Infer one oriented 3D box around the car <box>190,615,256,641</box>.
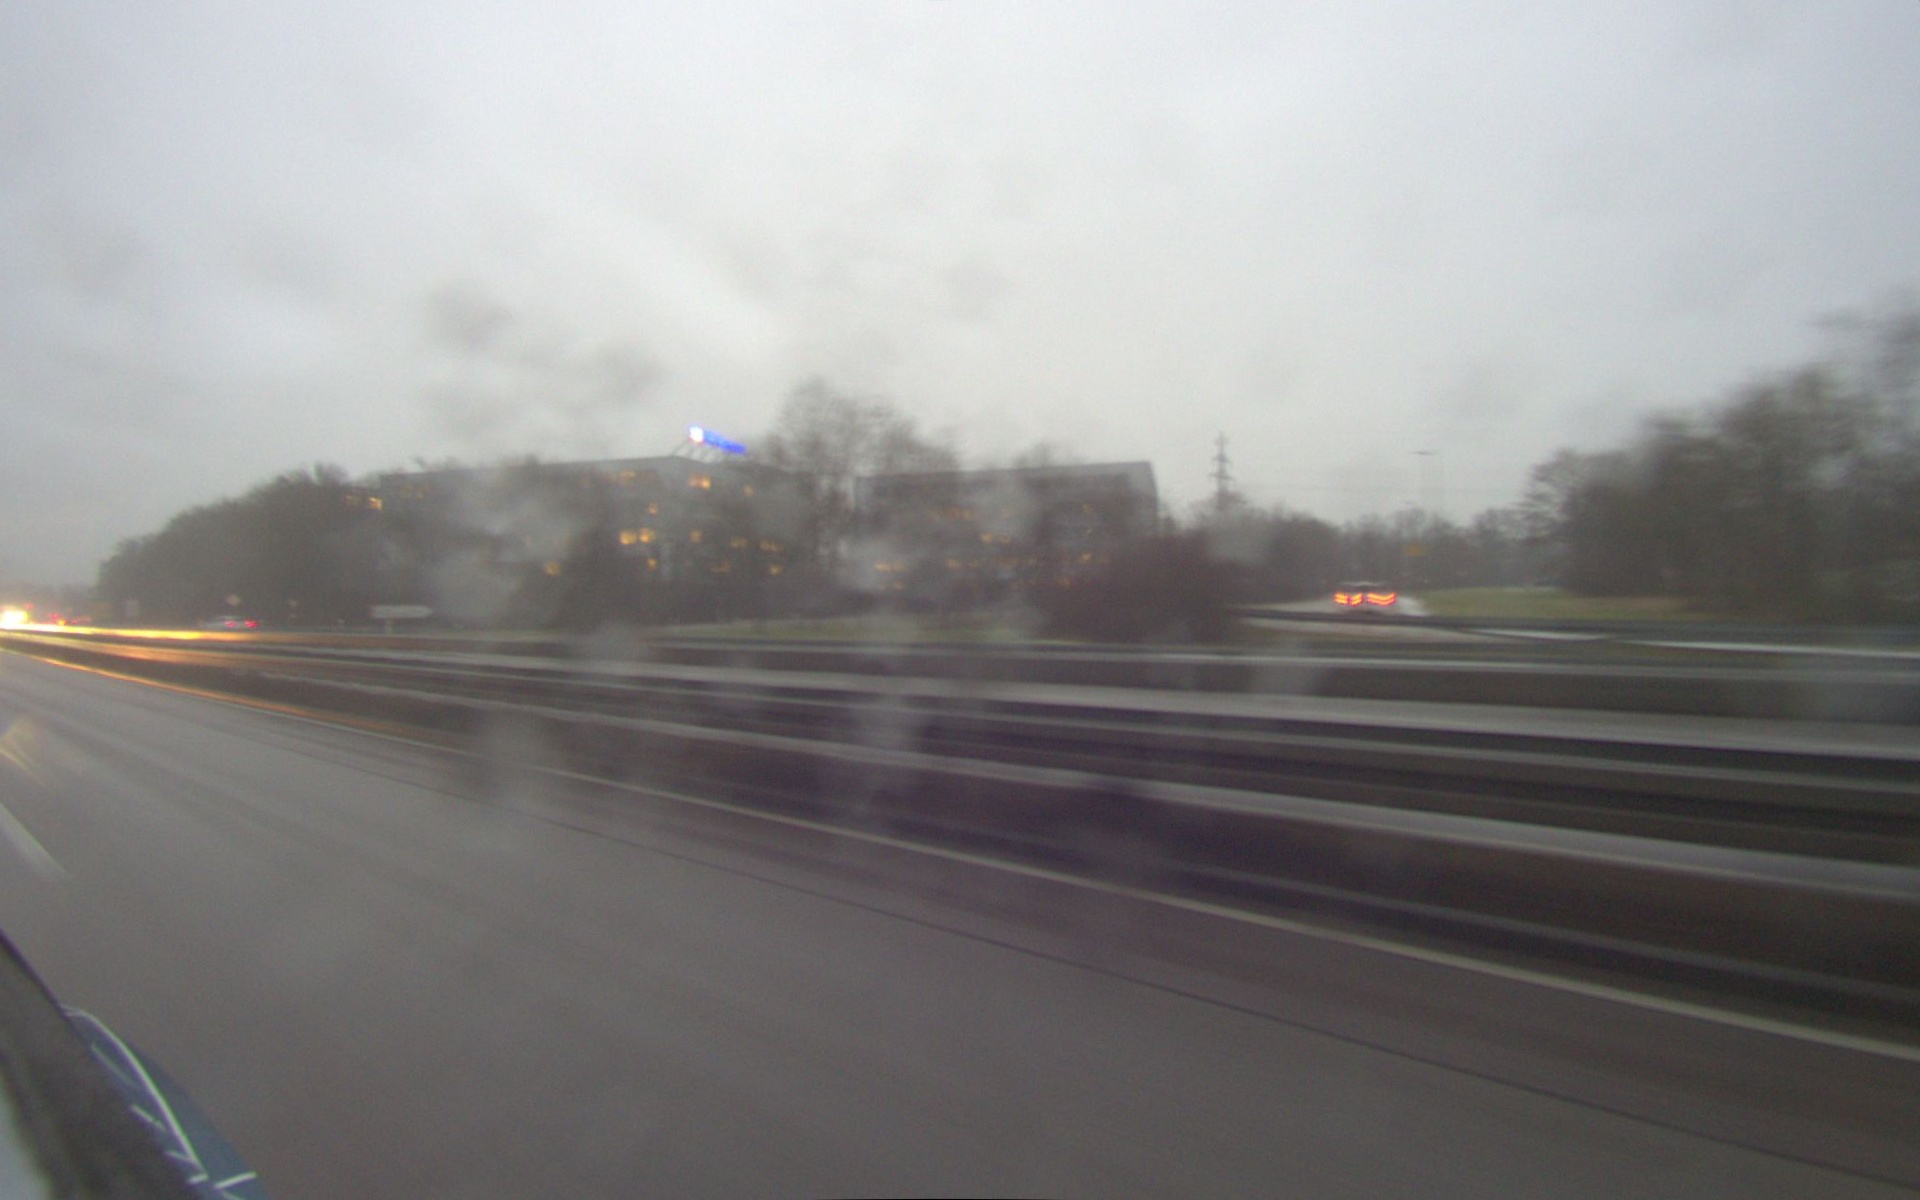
[{"bbox_3d":[-55.350,2.070,76.043,3.961,1.697,1.845,-3,1,14],"label":"car"}]
